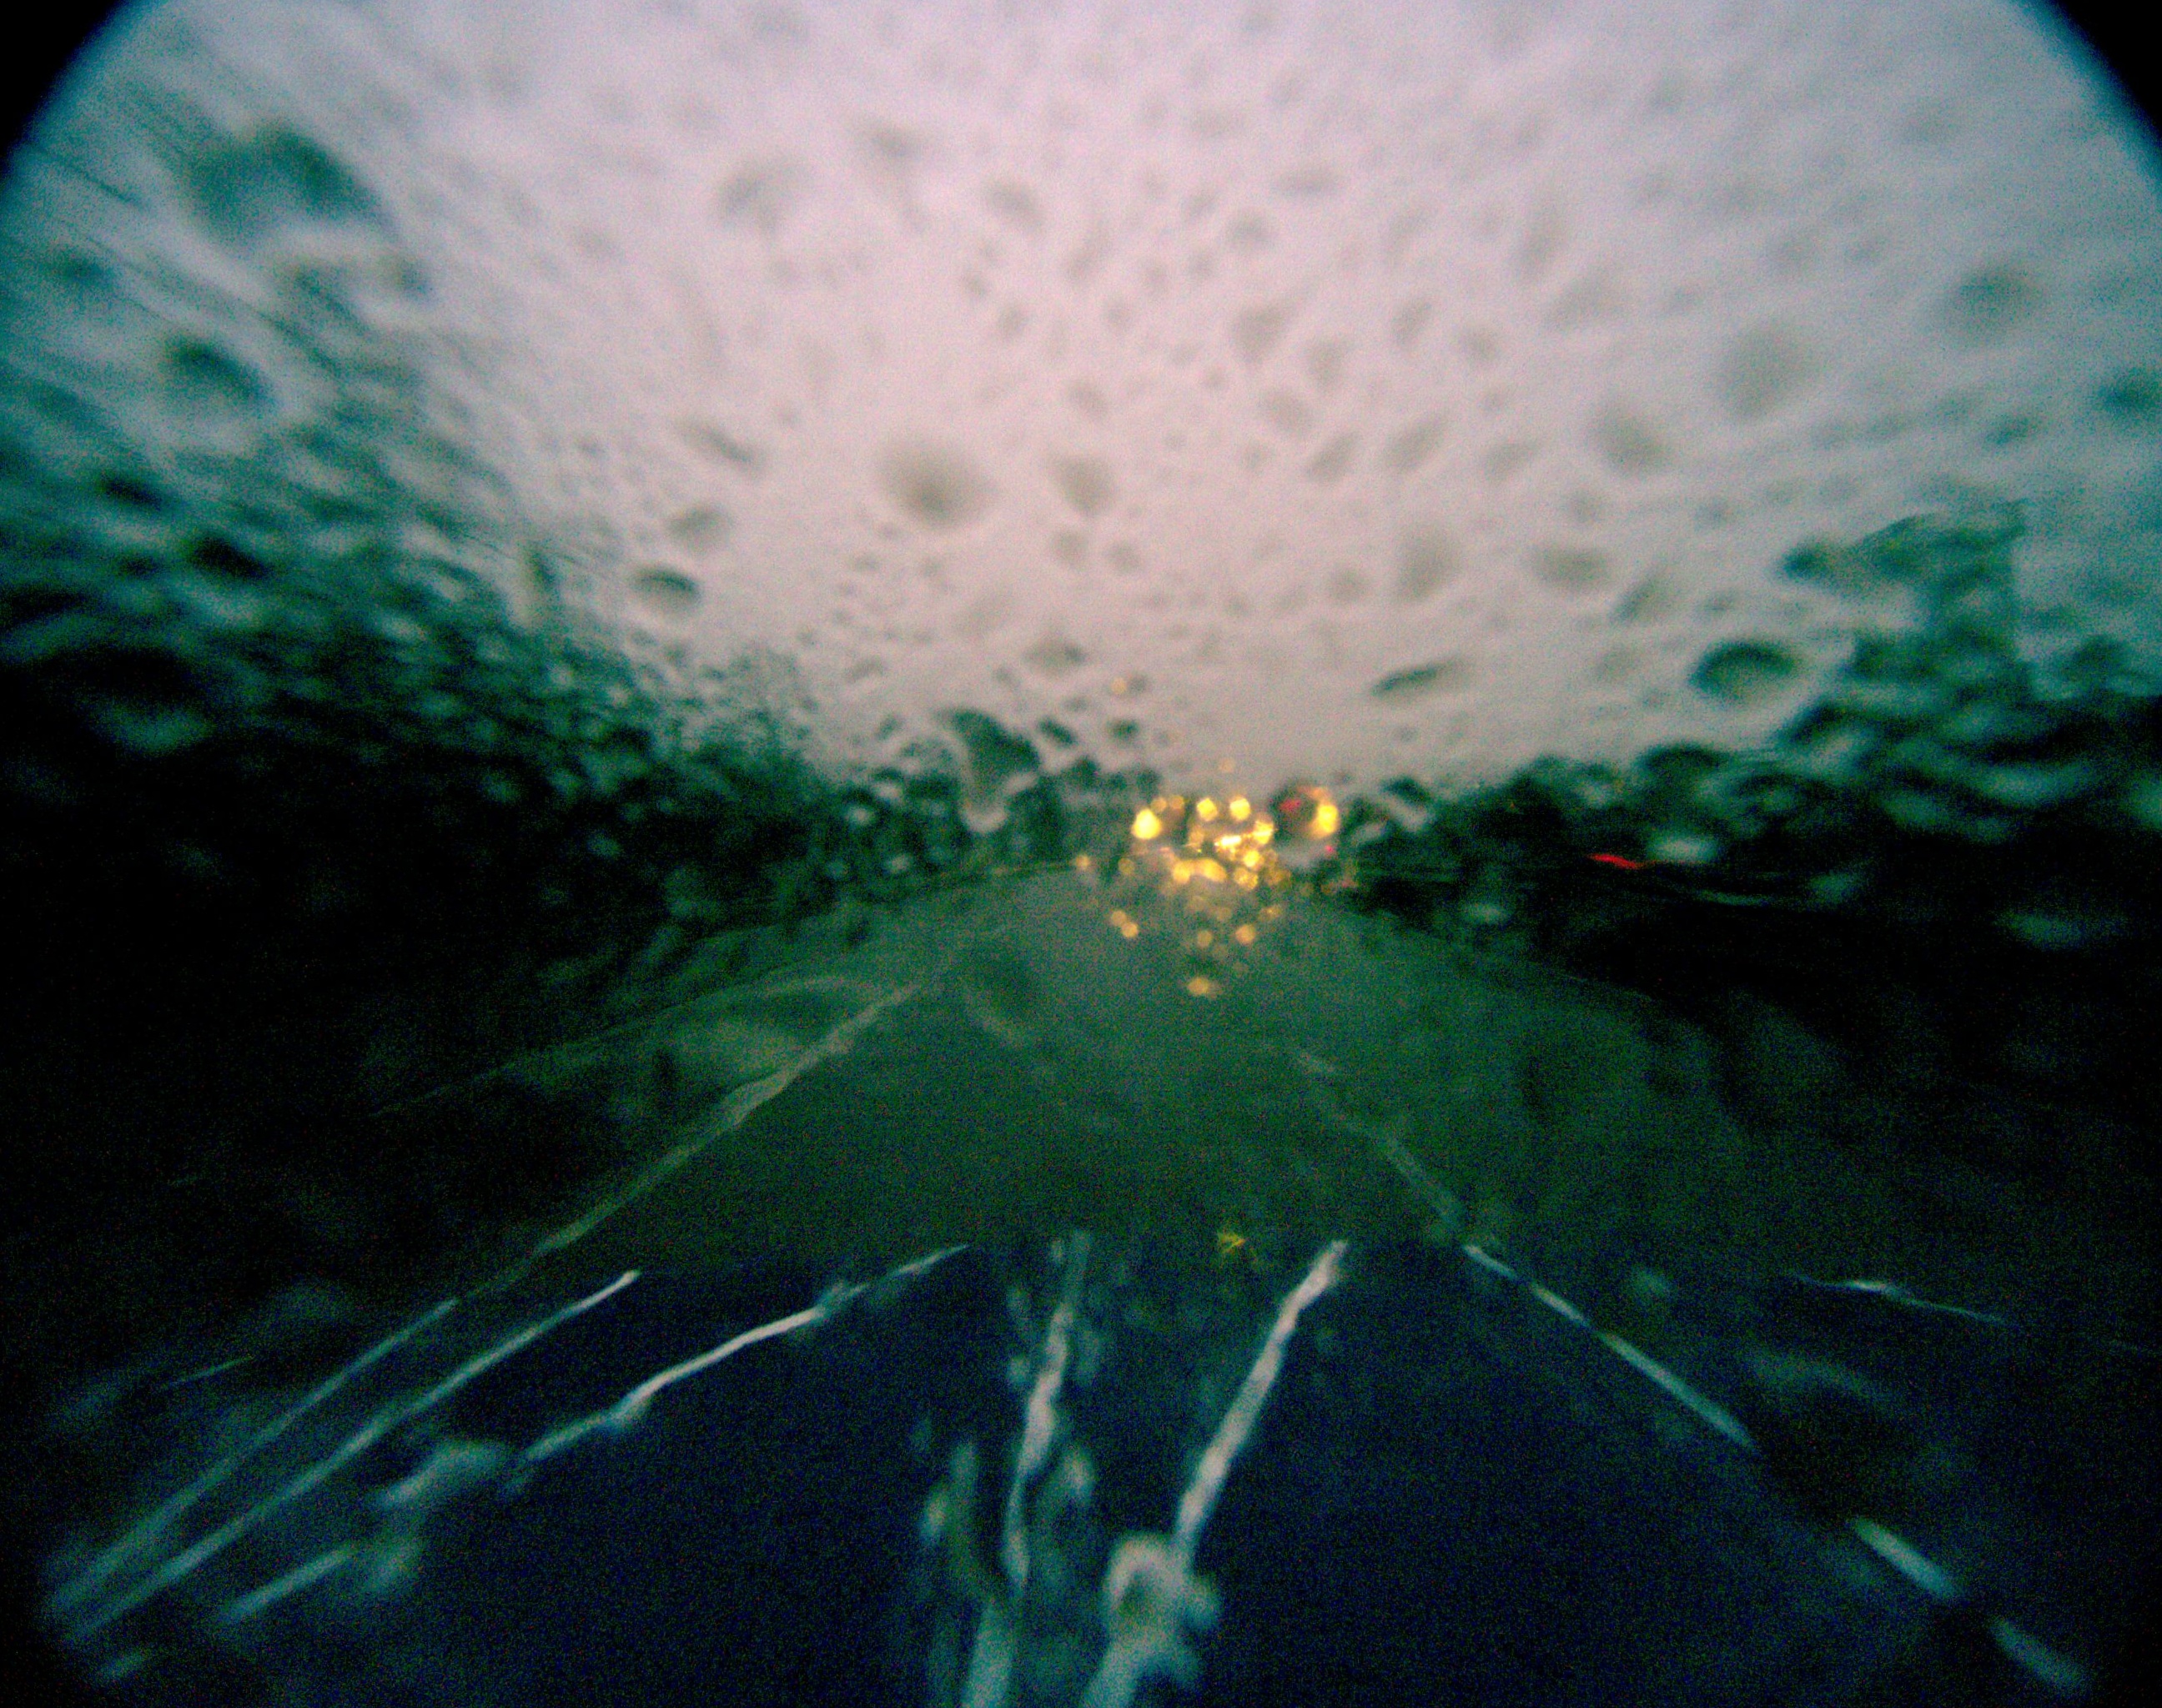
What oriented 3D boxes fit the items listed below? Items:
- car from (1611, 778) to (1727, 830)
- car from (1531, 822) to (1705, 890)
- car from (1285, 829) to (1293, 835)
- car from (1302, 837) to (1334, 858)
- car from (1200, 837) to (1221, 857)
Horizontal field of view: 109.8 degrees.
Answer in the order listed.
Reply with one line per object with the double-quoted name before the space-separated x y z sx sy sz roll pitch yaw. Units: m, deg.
"car" 42.264 -3.454 55.136 3.196 3.192 9.949 -1 1 16
"car" 14.924 0.023 21.487 1.998 1.663 4.429 -2 1 4
"car" 55.899 -5.934 204.127 1.765 1.617 4.530 -5 1 16
"car" 20.442 -0.590 65.803 1.797 1.674 4.690 -2 1 7
"car" 15.048 -0.812 88.167 1.997 2.002 4.003 -5 1 13
